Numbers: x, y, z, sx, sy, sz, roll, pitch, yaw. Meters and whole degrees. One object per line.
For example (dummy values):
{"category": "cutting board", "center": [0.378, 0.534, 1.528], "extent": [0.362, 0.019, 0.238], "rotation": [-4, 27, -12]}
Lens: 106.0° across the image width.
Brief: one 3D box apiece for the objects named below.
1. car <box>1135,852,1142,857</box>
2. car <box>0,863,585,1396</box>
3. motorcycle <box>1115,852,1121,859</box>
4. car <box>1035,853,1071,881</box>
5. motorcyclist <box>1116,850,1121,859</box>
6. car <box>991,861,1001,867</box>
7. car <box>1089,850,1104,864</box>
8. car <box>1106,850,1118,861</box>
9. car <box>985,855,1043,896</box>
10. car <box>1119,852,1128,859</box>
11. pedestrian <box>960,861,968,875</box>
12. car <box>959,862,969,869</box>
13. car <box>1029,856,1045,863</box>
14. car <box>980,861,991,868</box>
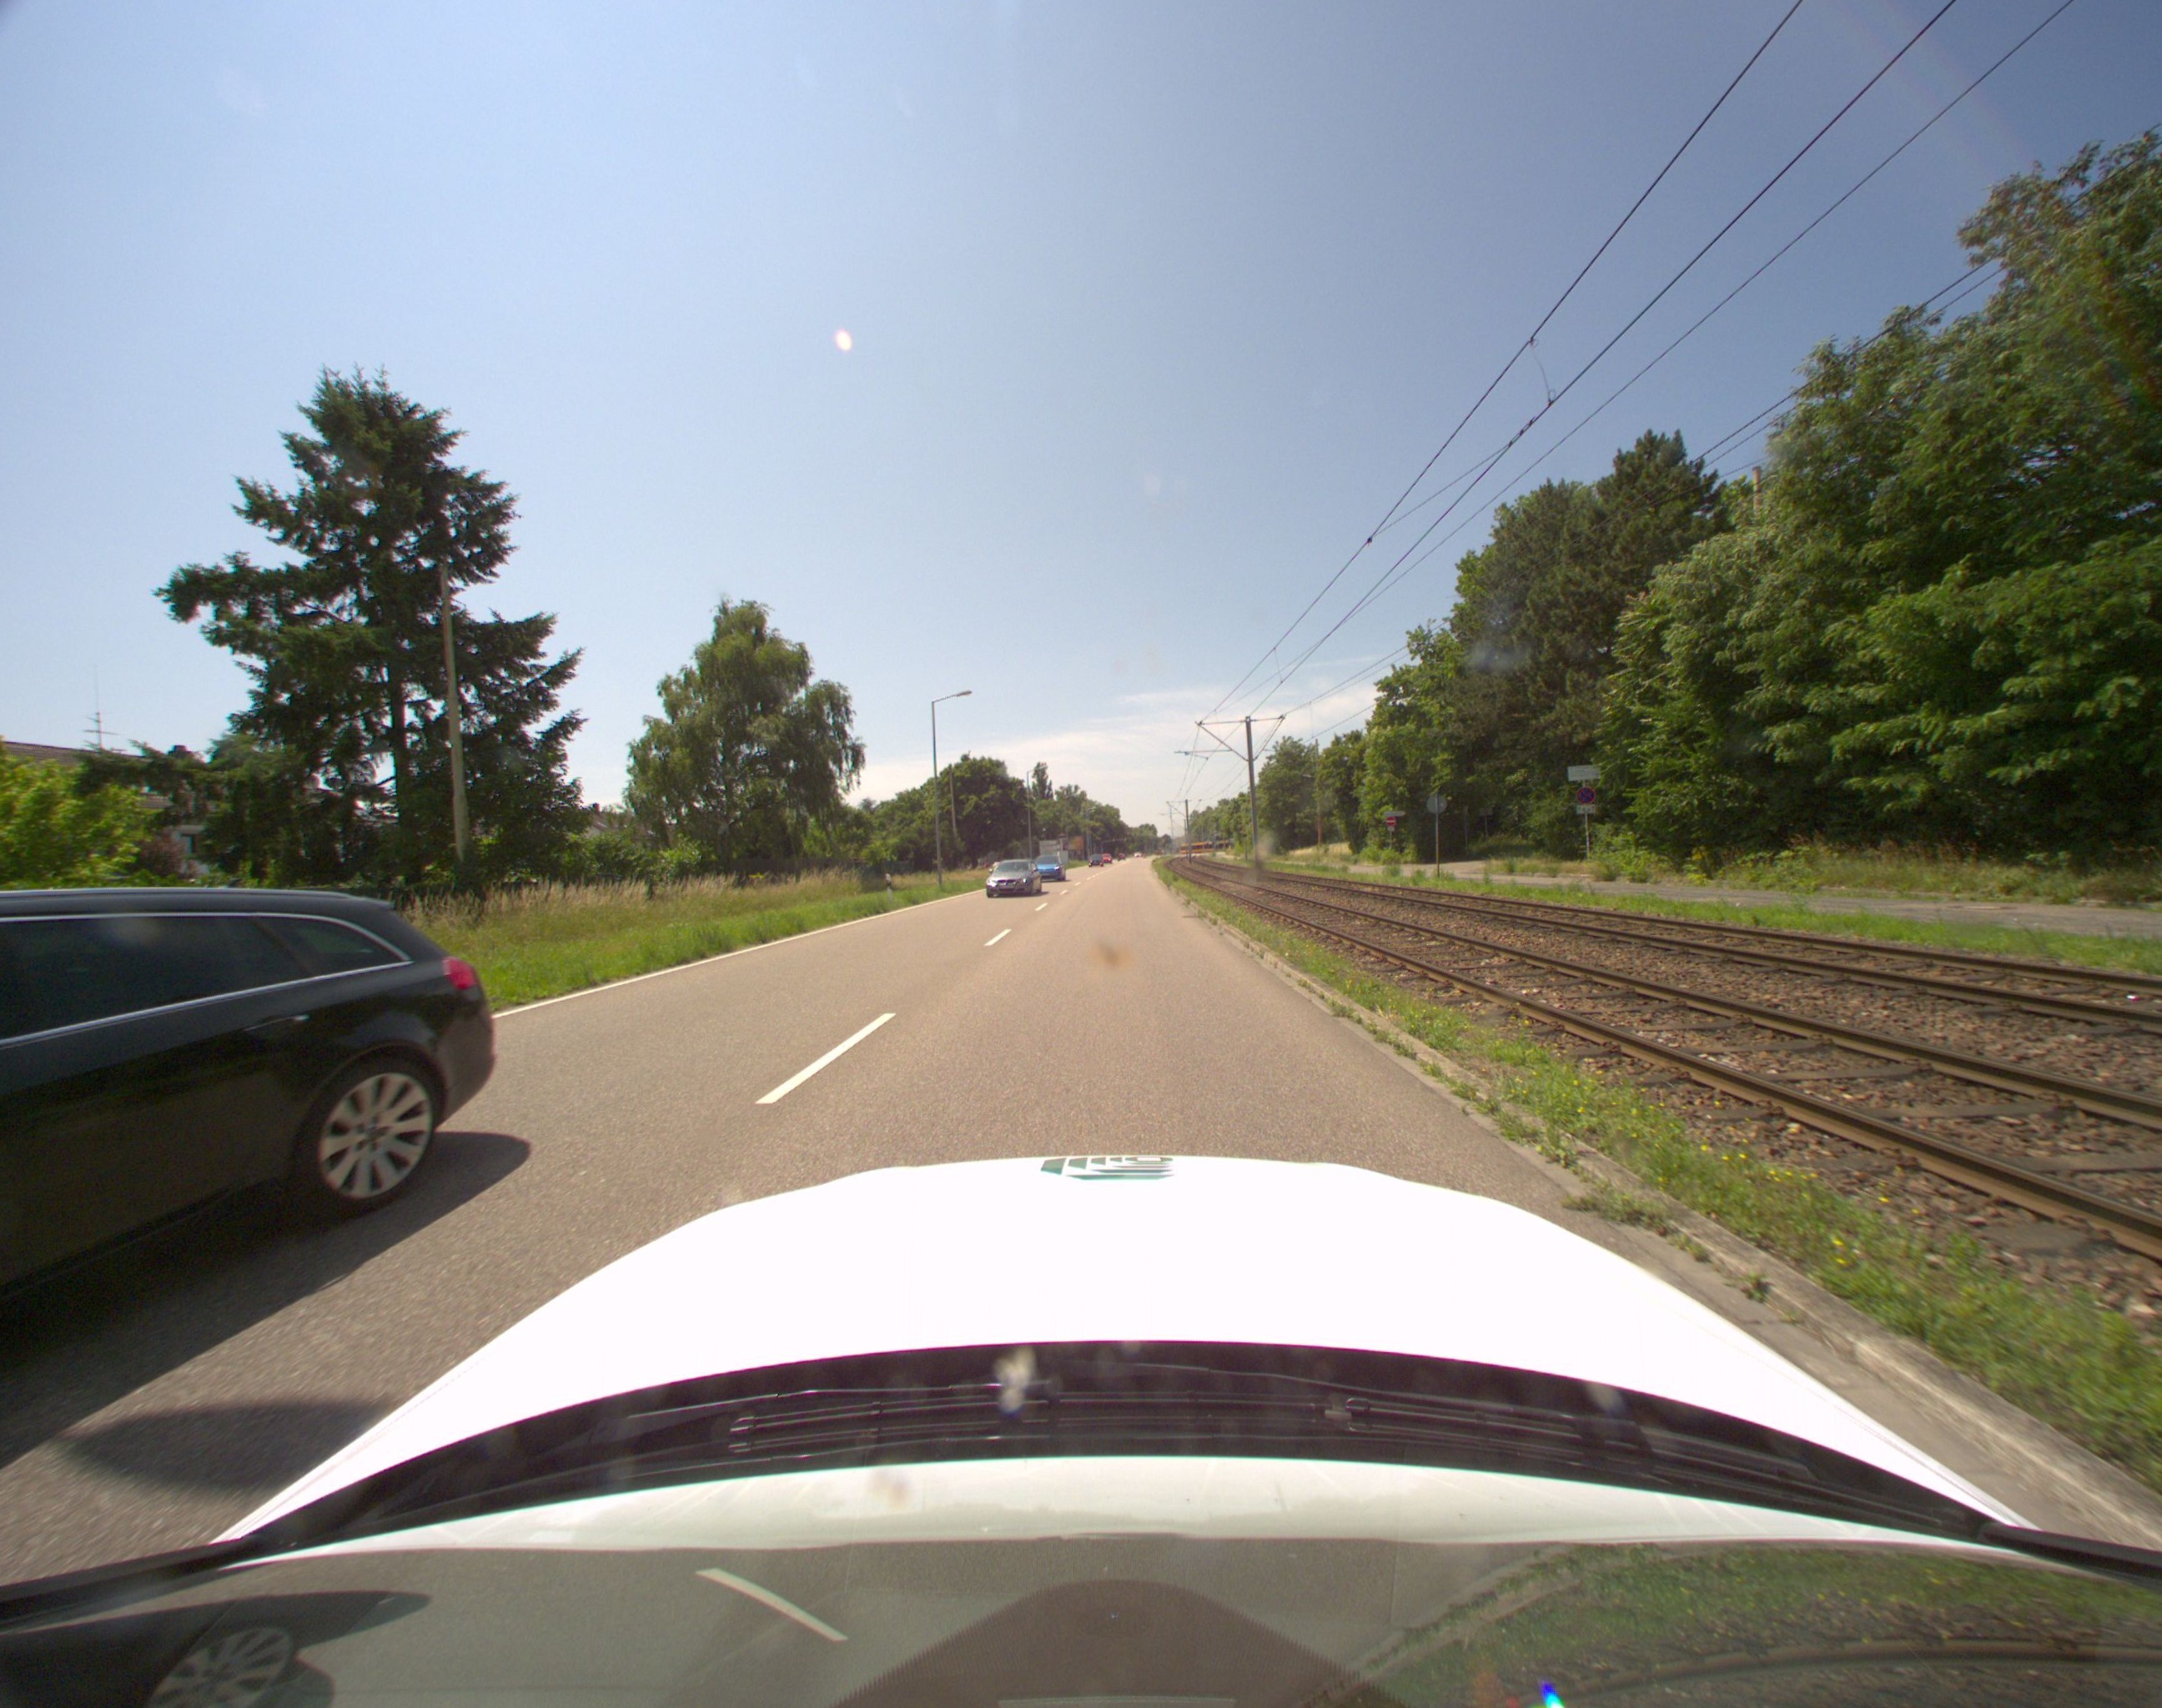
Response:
{"category": "car", "center": [17.465, 0.126, 248.104], "extent": [1.775, 1.628, 3.872], "rotation": [-4, 0, 6]}
{"category": "car", "center": [-3.988, 0.850, 2.541], "extent": [1.729, 1.495, 4.831], "rotation": [-3, 0, 2]}
{"category": "motorcycle", "center": [7.218, 0.331, 158.690], "extent": [0.843, 1.255, 2.452], "rotation": [-3, 0, 5]}
{"category": "car", "center": [-1.602, 0.757, 47.954], "extent": [1.808, 1.505, 4.002], "rotation": [-2, 0, 2]}
{"category": "motorcyclist", "center": [7.247, 0.060, 158.840], "extent": [0.786, 1.643, 1.213], "rotation": [-3, 0, 5]}
{"category": "car", "center": [-22.479, 2.582, 215.341], "extent": [1.711, 1.592, 3.972], "rotation": [-2, 0, -21]}
{"category": "car", "center": [1.840, 0.332, 96.855], "extent": [1.678, 1.570, 3.969], "rotation": [-2, 0, 2]}
{"category": "car", "center": [4.463, 0.205, 118.296], "extent": [1.673, 1.399, 4.002], "rotation": [-2, 0, 2]}
{"category": "car", "center": [-2.563, 0.808, 32.057], "extent": [1.750, 1.423, 4.325], "rotation": [-2, 0, 2]}
{"category": "car", "center": [10.035, 0.319, 190.337], "extent": [1.898, 1.499, 4.635], "rotation": [-2, 0, 4]}
{"category": "pedestrian", "center": [-11.750, 1.368, 81.526], "extent": [0.578, 1.355, 0.799], "rotation": [-2, 0, 4]}
{"category": "car", "center": [-30.762, 2.927, 213.781], "extent": [1.850, 1.711, 3.977], "rotation": [-2, 0, -16]}
{"category": "car", "center": [-13.227, 1.598, 242.894], "extent": [4.576, 1.768, 1.769], "rotation": [-3, 0, -44]}
{"category": "car", "center": [-25.238, 2.766, 214.739], "extent": [1.855, 1.668, 3.967], "rotation": [-4, 0, -24]}
